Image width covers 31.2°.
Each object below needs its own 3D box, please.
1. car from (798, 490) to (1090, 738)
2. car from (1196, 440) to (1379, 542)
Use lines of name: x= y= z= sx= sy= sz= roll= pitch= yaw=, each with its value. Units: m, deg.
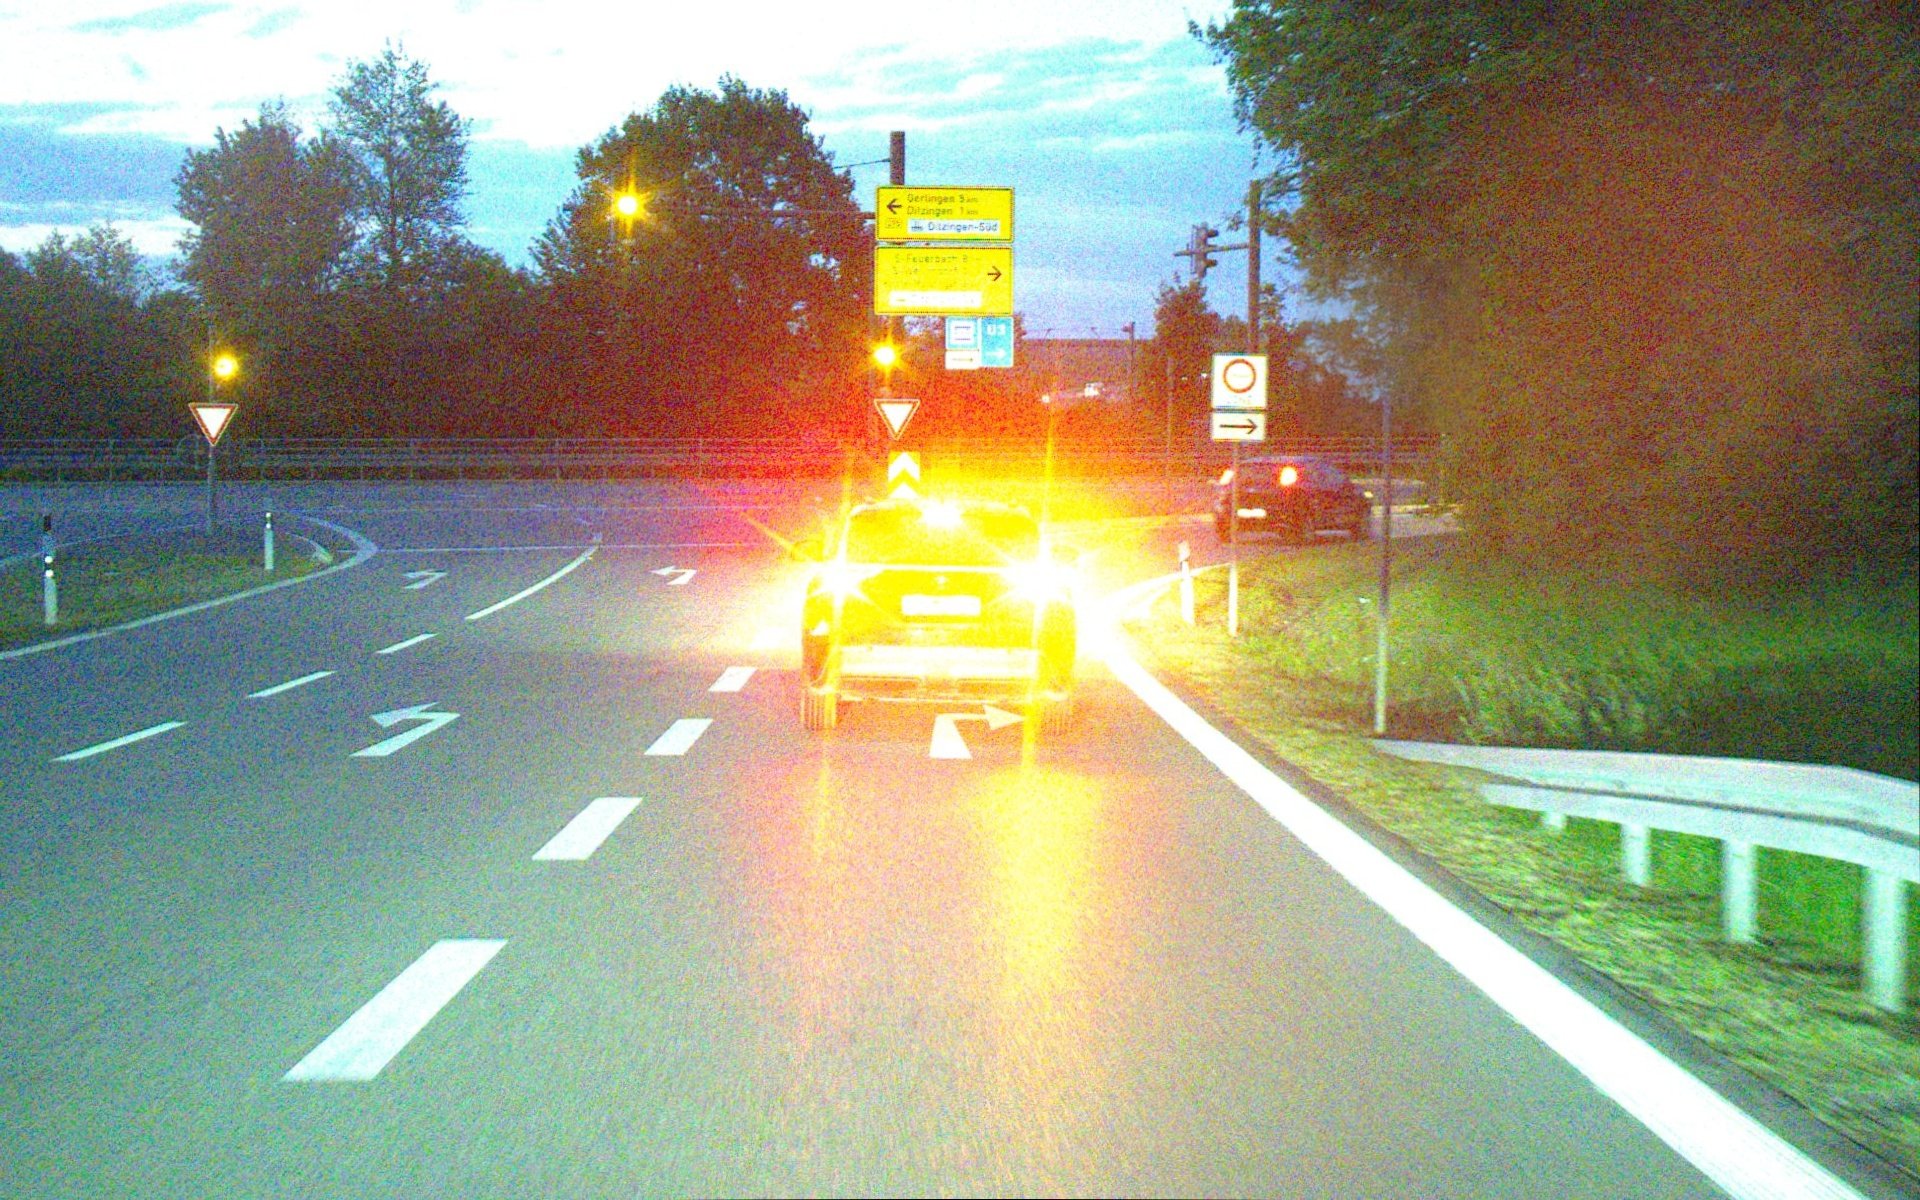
car: x=-0.171 y=0.055 z=24.666 sx=1.901 sy=1.614 sz=4.557 roll=0 pitch=1 yaw=-2
car: x=5.753 y=-1.879 z=60.078 sx=1.784 sy=1.647 sz=3.994 roll=1 pitch=0 yaw=28
